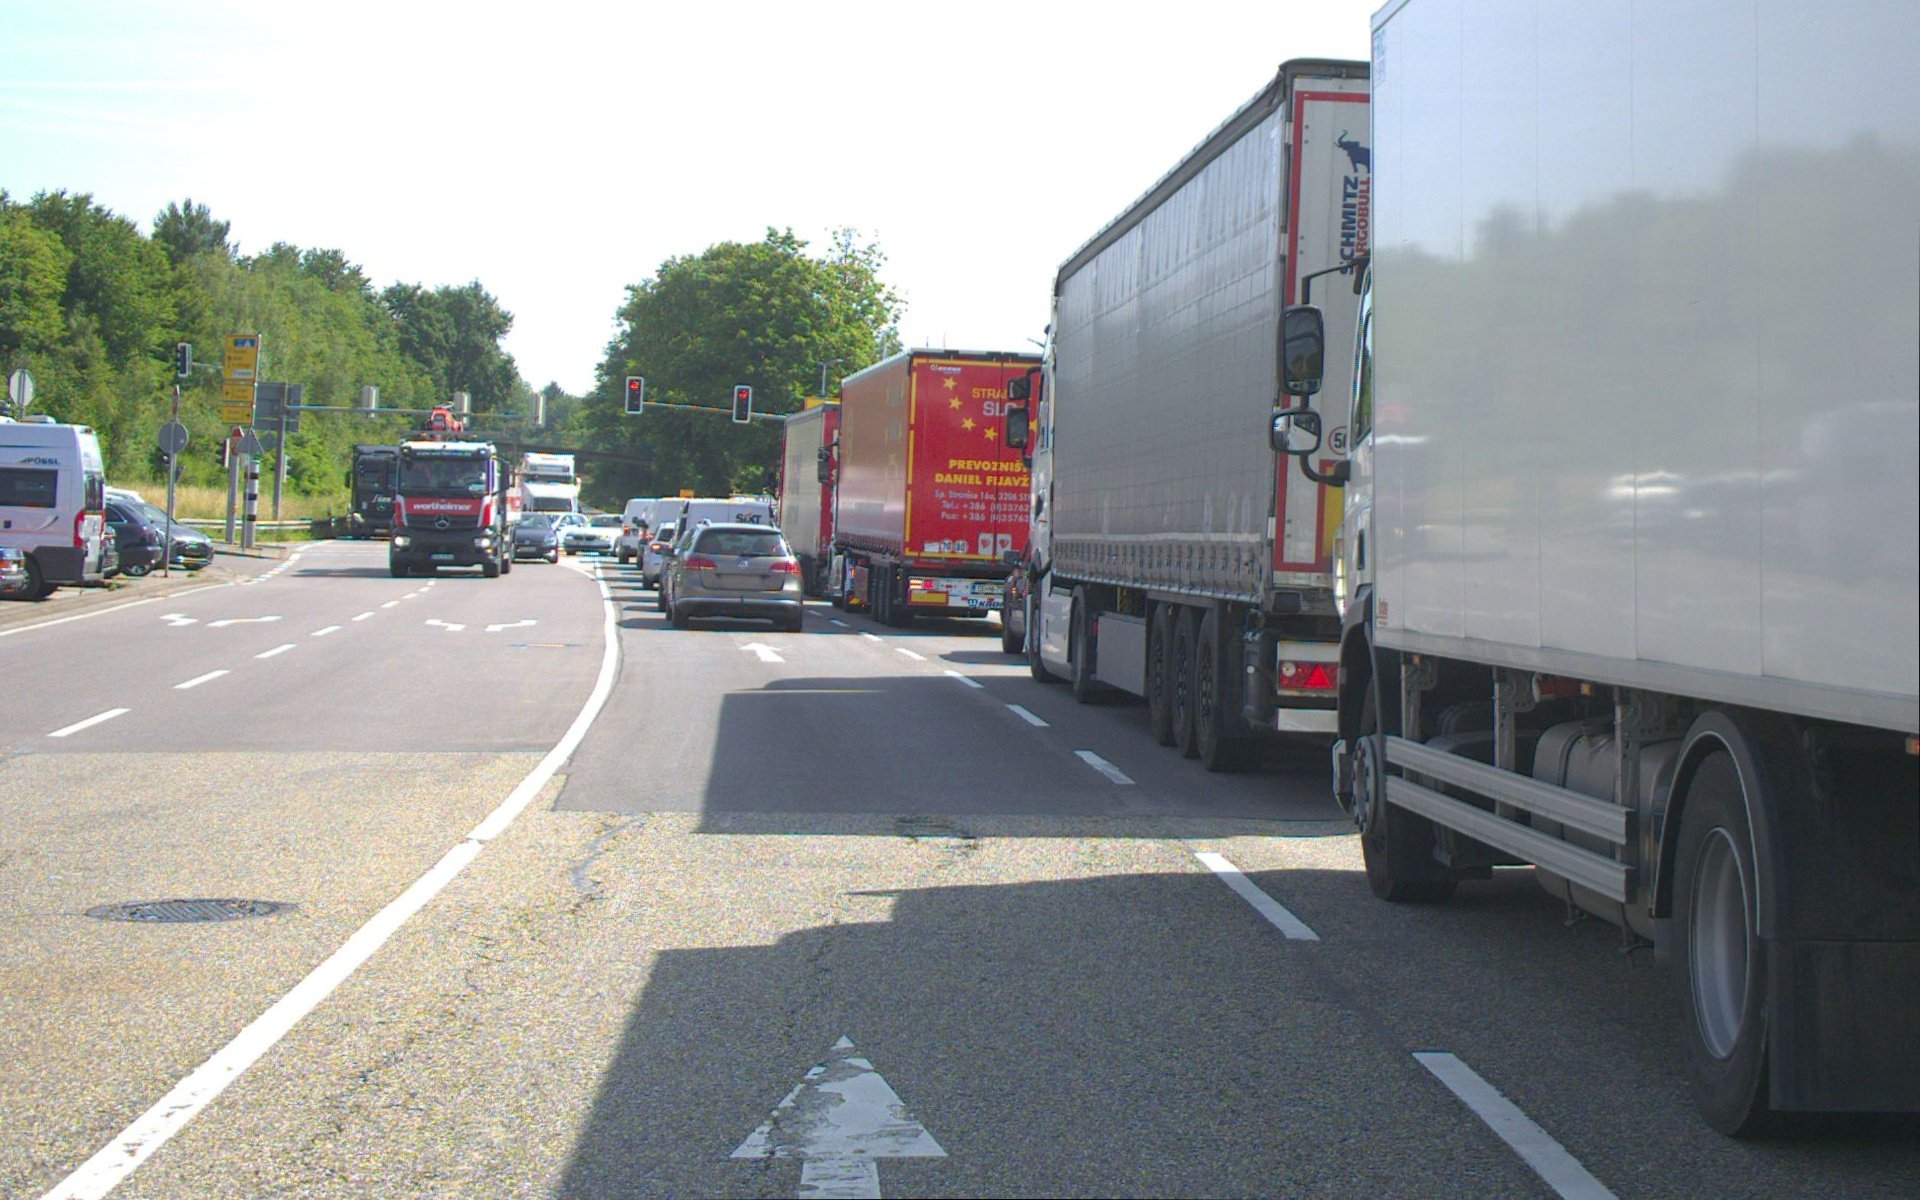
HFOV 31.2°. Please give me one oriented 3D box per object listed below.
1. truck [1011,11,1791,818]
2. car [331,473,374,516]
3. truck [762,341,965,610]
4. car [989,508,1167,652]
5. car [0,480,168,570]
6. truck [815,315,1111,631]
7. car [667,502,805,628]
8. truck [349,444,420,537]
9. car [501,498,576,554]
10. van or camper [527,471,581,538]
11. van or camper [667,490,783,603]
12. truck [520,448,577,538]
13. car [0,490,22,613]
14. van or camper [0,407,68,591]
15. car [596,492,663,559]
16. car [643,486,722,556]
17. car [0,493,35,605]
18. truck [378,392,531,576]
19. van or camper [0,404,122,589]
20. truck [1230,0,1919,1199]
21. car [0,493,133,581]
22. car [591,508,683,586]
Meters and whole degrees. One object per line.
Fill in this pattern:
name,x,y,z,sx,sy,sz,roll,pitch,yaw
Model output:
truck,2.508,-1.177,26.908,2.890,4.251,16.712,2,1,-3
car,-30.567,-5.276,172.975,1.993,2.007,4.001,3,0,-10
truck,-2.387,-2.688,76.555,3.062,5.202,17.011,2,1,-6
car,1.430,-0.294,43.102,1.818,1.679,4.001,1,1,-4
car,-16.522,-1.387,62.727,3.816,1.534,1.843,2,1,-6
truck,-0.296,-1.984,55.954,2.956,4.255,16.588,2,1,-6
car,-3.064,-0.497,47.641,1.790,1.633,3.504,2,1,-3
truck,-24.050,-4.569,143.574,2.812,3.773,6.992,1,2,-10
car,-12.240,-2.159,99.939,1.806,1.554,4.388,1,1,-3
van or camper,-18.230,-4.253,154.481,2.223,2.831,5.712,3,0,-6
van or camper,-4.264,-0.988,62.029,1.852,1.899,3.785,3,1,-6
truck,-20.064,-5.213,167.884,2.552,4.292,7.597,1,1,-6
car,-14.279,-0.740,44.743,3.707,1.550,1.708,4,2,-7
van or camper,-17.483,-1.732,54.875,5.891,2.863,2.290,2,2,-5
car,-9.831,-2.199,102.430,1.726,1.902,3.312,3,0,-3
car,-6.458,-1.816,80.139,1.726,1.514,3.313,3,0,-4
car,-14.764,-0.873,47.132,3.707,1.479,1.708,6,1,-7
truck,-12.235,-2.792,83.962,2.956,4.194,10.649,0,2,-4
van or camper,-15.700,-1.654,52.534,5.244,2.722,2.211,2,1,-4
truck,3.022,-0.578,10.959,2.879,3.798,11.143,2,1,-2
car,-16.511,-1.132,59.964,3.816,1.443,1.843,2,1,-6
car,-6.678,-1.090,71.393,1.726,1.514,3.313,3,0,-4
